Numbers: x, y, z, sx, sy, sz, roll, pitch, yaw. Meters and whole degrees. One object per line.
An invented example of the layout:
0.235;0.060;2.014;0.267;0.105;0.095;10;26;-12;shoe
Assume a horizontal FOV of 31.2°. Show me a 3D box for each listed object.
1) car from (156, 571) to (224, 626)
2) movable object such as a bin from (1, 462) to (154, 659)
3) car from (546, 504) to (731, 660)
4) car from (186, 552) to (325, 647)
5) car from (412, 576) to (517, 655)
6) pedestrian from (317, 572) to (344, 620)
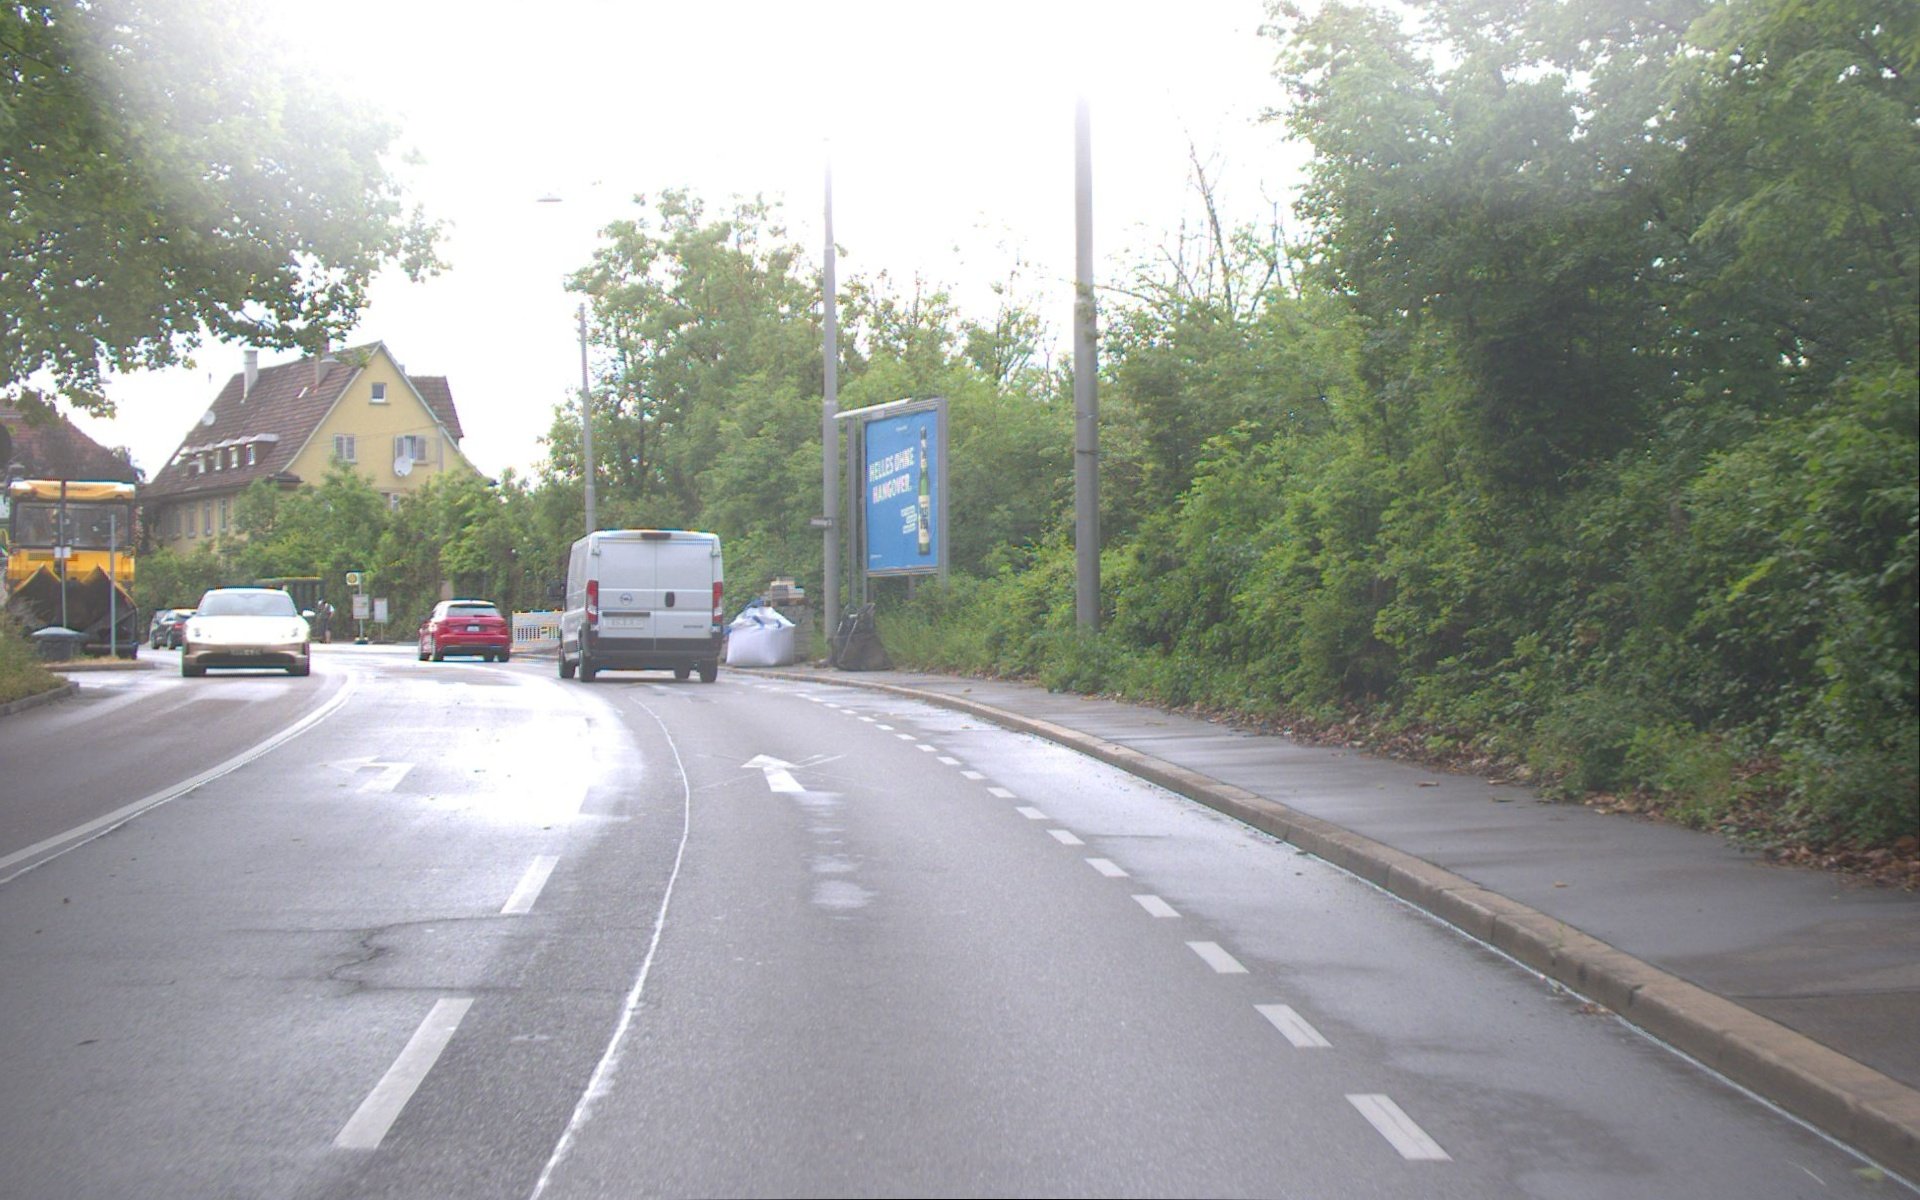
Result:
-27.293;-0.065;121.753;2.237;1.798;4.715;1;1;-14;car
-18.084;-0.859;70.753;2.773;3.842;5.990;1;1;-12;movable object such as a bin
-4.936;-0.318;52.146;2.237;2.205;4.715;1;1;-12;car
-11.308;-0.035;55.087;2.070;1.348;4.715;1;1;-12;car
-11.609;0.346;80.296;2.237;1.651;4.715;1;1;-10;car
-23.247;-0.148;126.961;0.905;1.725;0.654;1;1;-14;pedestrian
